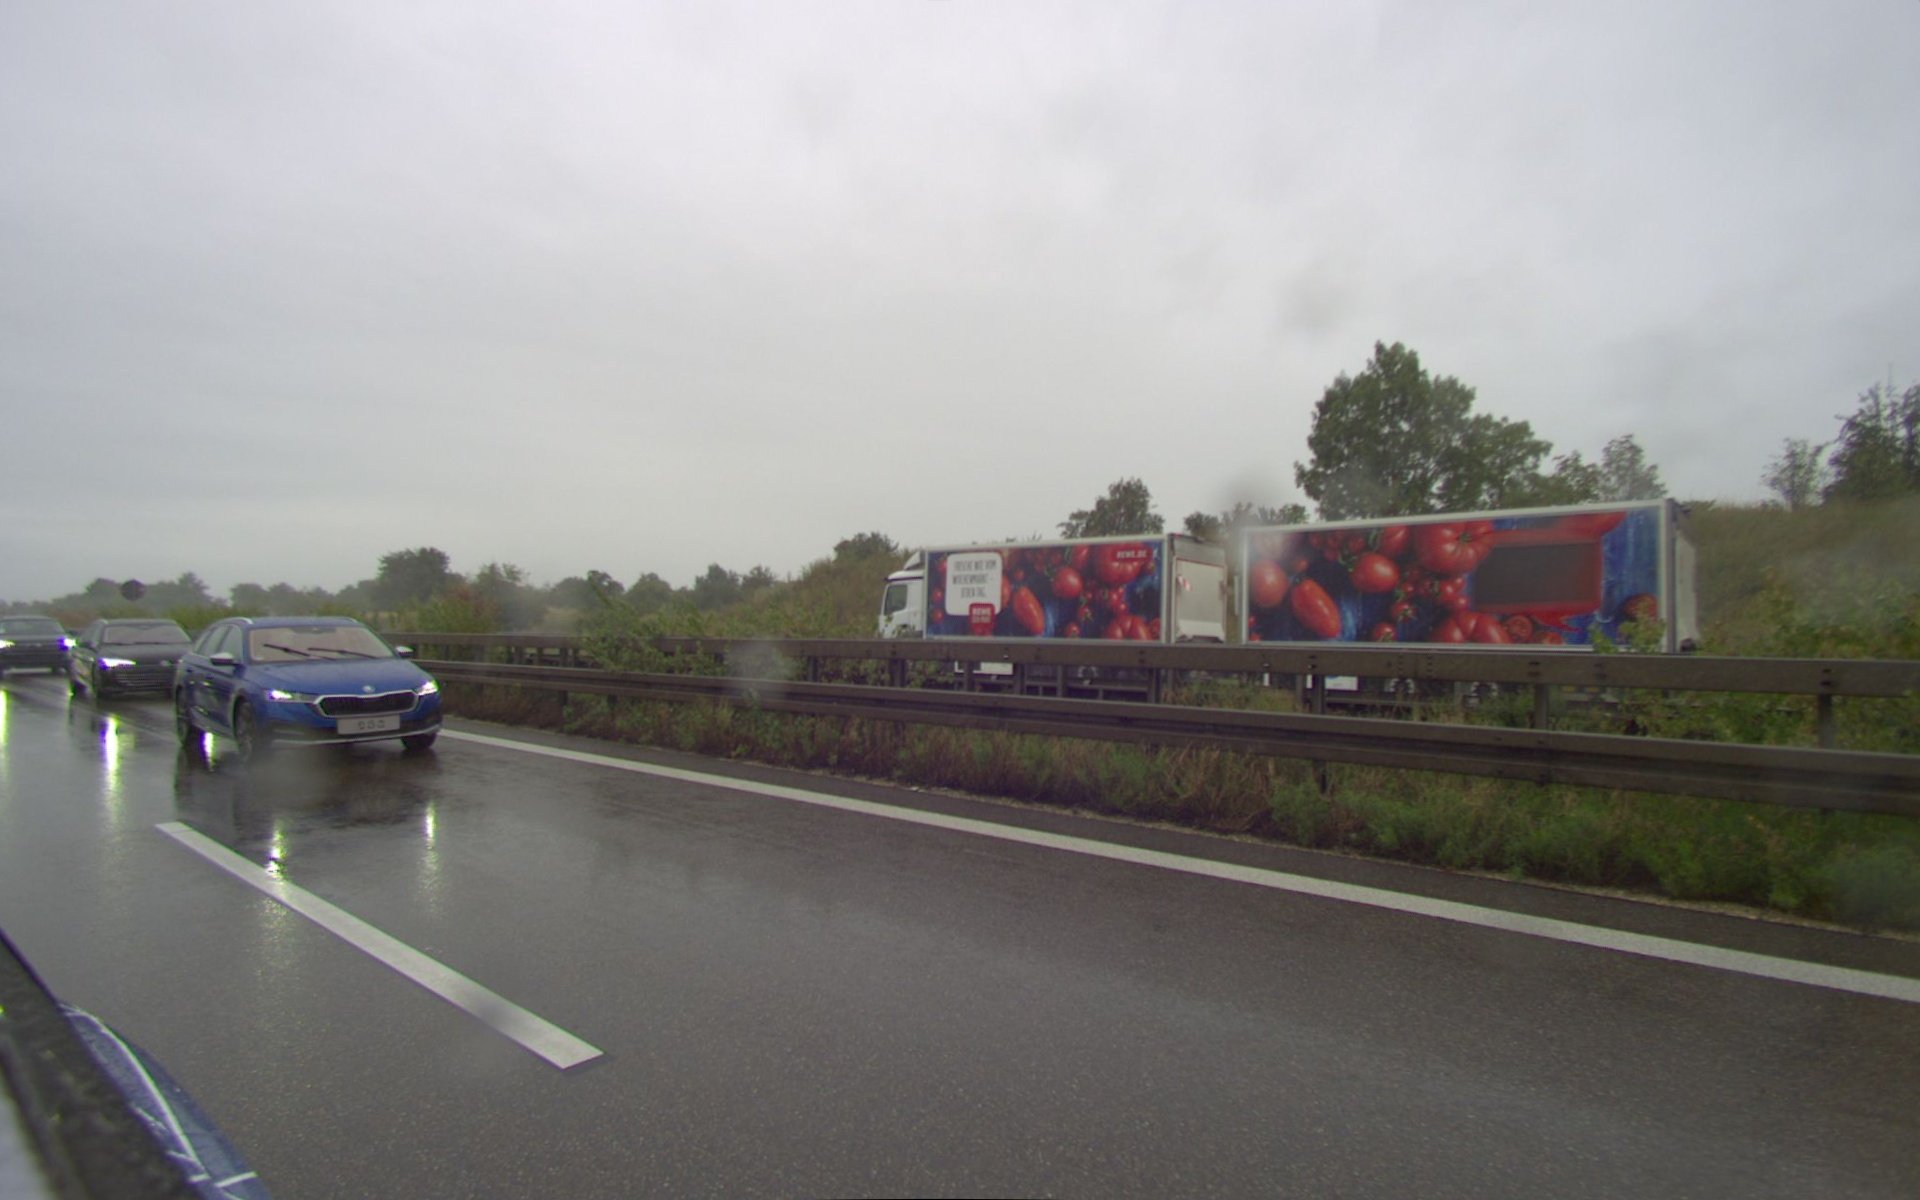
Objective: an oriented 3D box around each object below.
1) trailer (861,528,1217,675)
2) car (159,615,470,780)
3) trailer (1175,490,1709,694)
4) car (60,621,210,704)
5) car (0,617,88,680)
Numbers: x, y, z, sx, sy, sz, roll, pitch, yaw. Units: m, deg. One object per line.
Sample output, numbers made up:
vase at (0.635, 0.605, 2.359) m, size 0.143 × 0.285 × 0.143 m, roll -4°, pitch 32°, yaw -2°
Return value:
trailer at (1.548, 0.126, 25.274) m, size 9.550 × 3.105 × 1.973 m, roll -1°, pitch -1°, yaw 41°
car at (-7.378, 0.941, 11.364) m, size 4.510 × 1.487 × 1.767 m, roll -2°, pitch -1°, yaw 41°
trailer at (8.526, -0.040, 19.120) m, size 8.867 × 3.105 × 1.973 m, roll -1°, pitch -1°, yaw 41°
car at (-16.255, 1.157, 19.856) m, size 4.368 × 1.447 × 1.592 m, roll -2°, pitch -1°, yaw 41°
car at (-26.406, 1.333, 28.780) m, size 4.266 × 1.644 × 1.864 m, roll -2°, pitch -1°, yaw 41°
